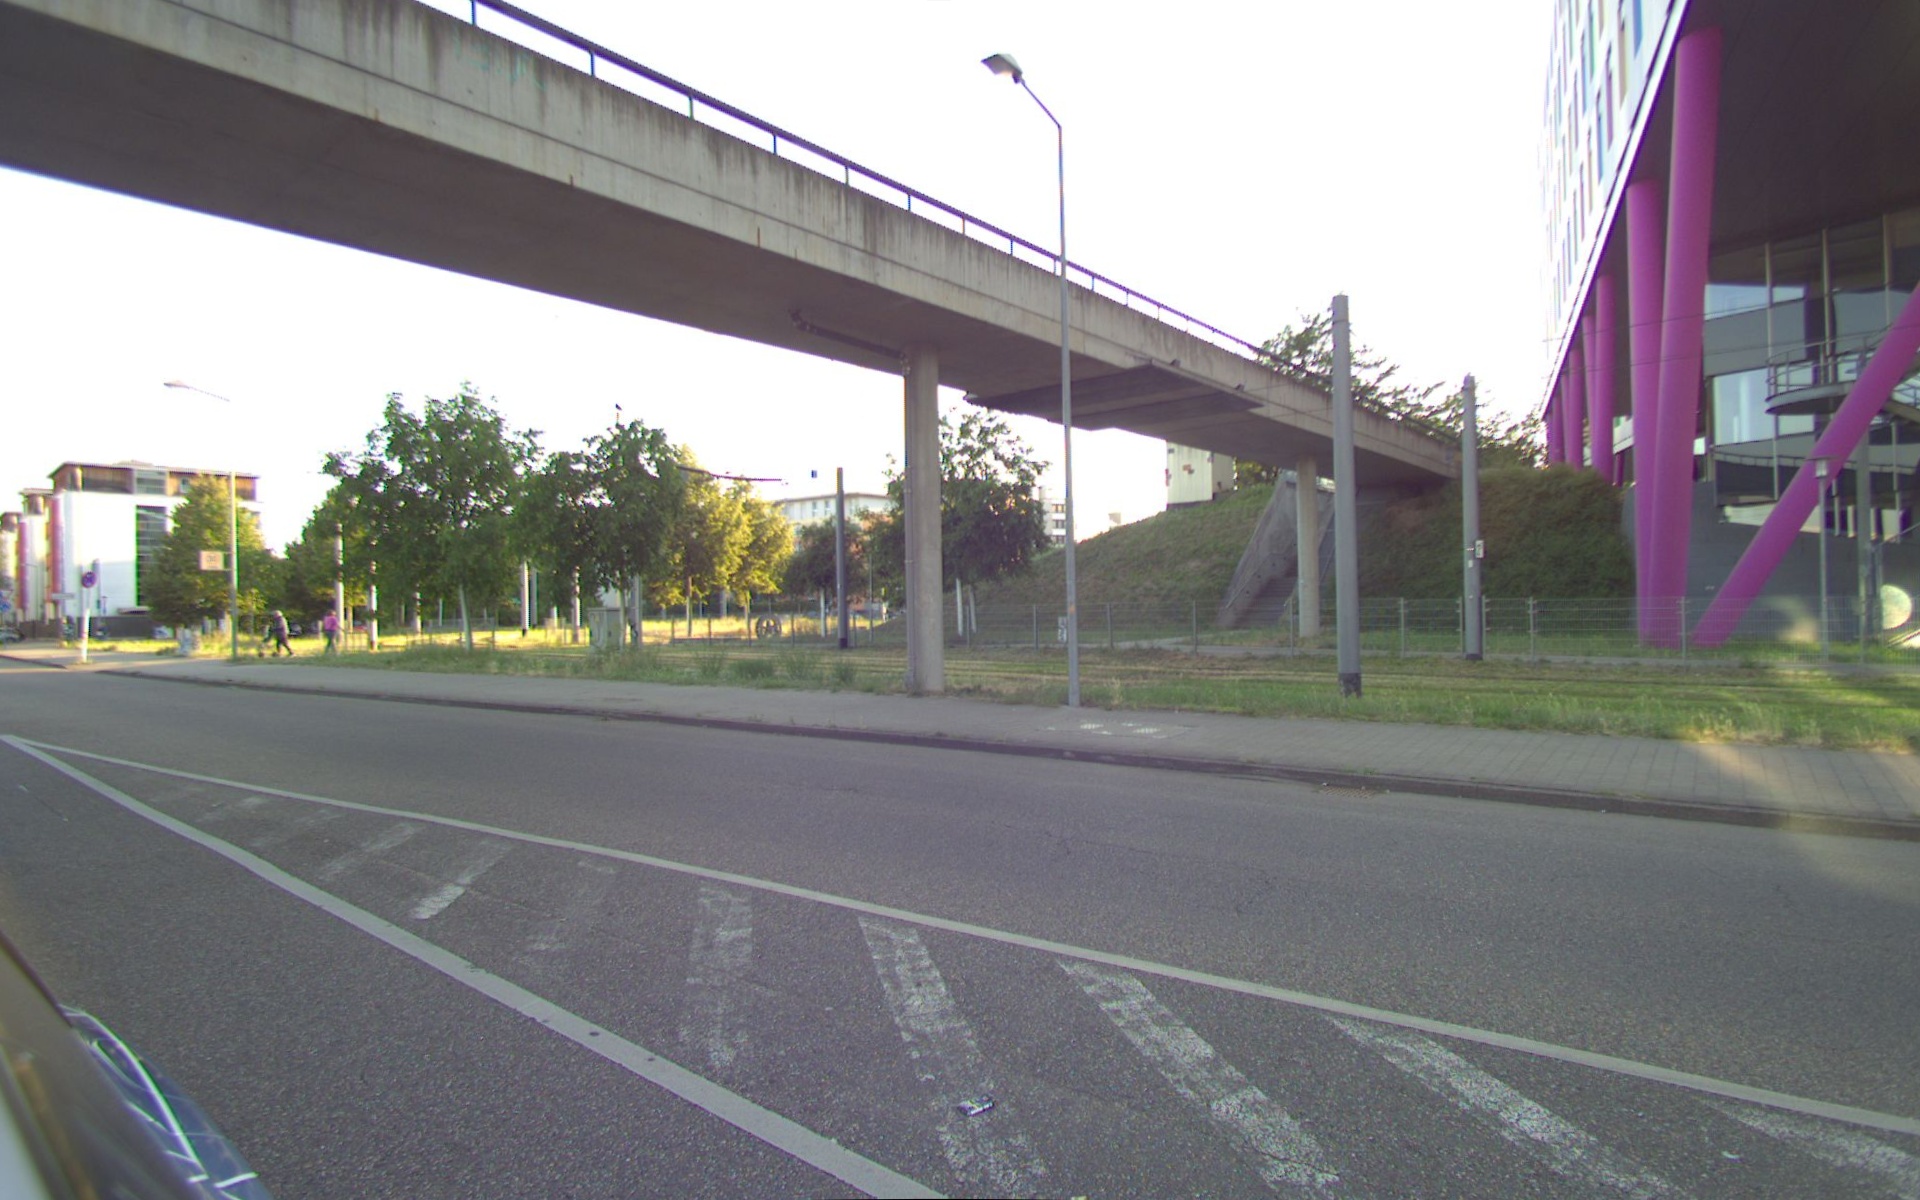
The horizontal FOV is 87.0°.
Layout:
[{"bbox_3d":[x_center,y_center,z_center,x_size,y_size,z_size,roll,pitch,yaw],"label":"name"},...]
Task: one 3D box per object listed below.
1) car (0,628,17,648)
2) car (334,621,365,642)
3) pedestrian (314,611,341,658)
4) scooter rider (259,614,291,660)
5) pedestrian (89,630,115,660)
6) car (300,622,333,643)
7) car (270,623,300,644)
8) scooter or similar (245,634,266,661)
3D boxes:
[{"bbox_3d":[-80.771,3.168,83.408,1.839,1.571,4.330,-1,0,42],"label":"car"},{"bbox_3d":[-53.584,2.756,88.782,1.842,1.734,3.852,-1,-1,-38],"label":"car"},{"bbox_3d":[-22.410,1.227,35.877,0.767,1.623,0.417,-1,-1,-38],"label":"pedestrian"},{"bbox_3d":[-24.144,1.307,35.673,0.884,1.589,0.713,-1,-1,-39],"label":"scooter rider"},{"bbox_3d":[-59.614,3.138,70.317,1.072,2.029,1.143,-1,0,-21],"label":"pedestrian"},{"bbox_3d":[-55.384,2.780,87.057,1.843,1.734,3.851,-1,-1,-40],"label":"car"},{"bbox_3d":[-57.071,2.809,85.572,1.842,1.734,3.853,-1,-1,-38],"label":"car"},{"bbox_3d":[-24.585,1.638,35.297,0.544,0.902,0.724,1,-1,-40],"label":"scooter or similar"}]
